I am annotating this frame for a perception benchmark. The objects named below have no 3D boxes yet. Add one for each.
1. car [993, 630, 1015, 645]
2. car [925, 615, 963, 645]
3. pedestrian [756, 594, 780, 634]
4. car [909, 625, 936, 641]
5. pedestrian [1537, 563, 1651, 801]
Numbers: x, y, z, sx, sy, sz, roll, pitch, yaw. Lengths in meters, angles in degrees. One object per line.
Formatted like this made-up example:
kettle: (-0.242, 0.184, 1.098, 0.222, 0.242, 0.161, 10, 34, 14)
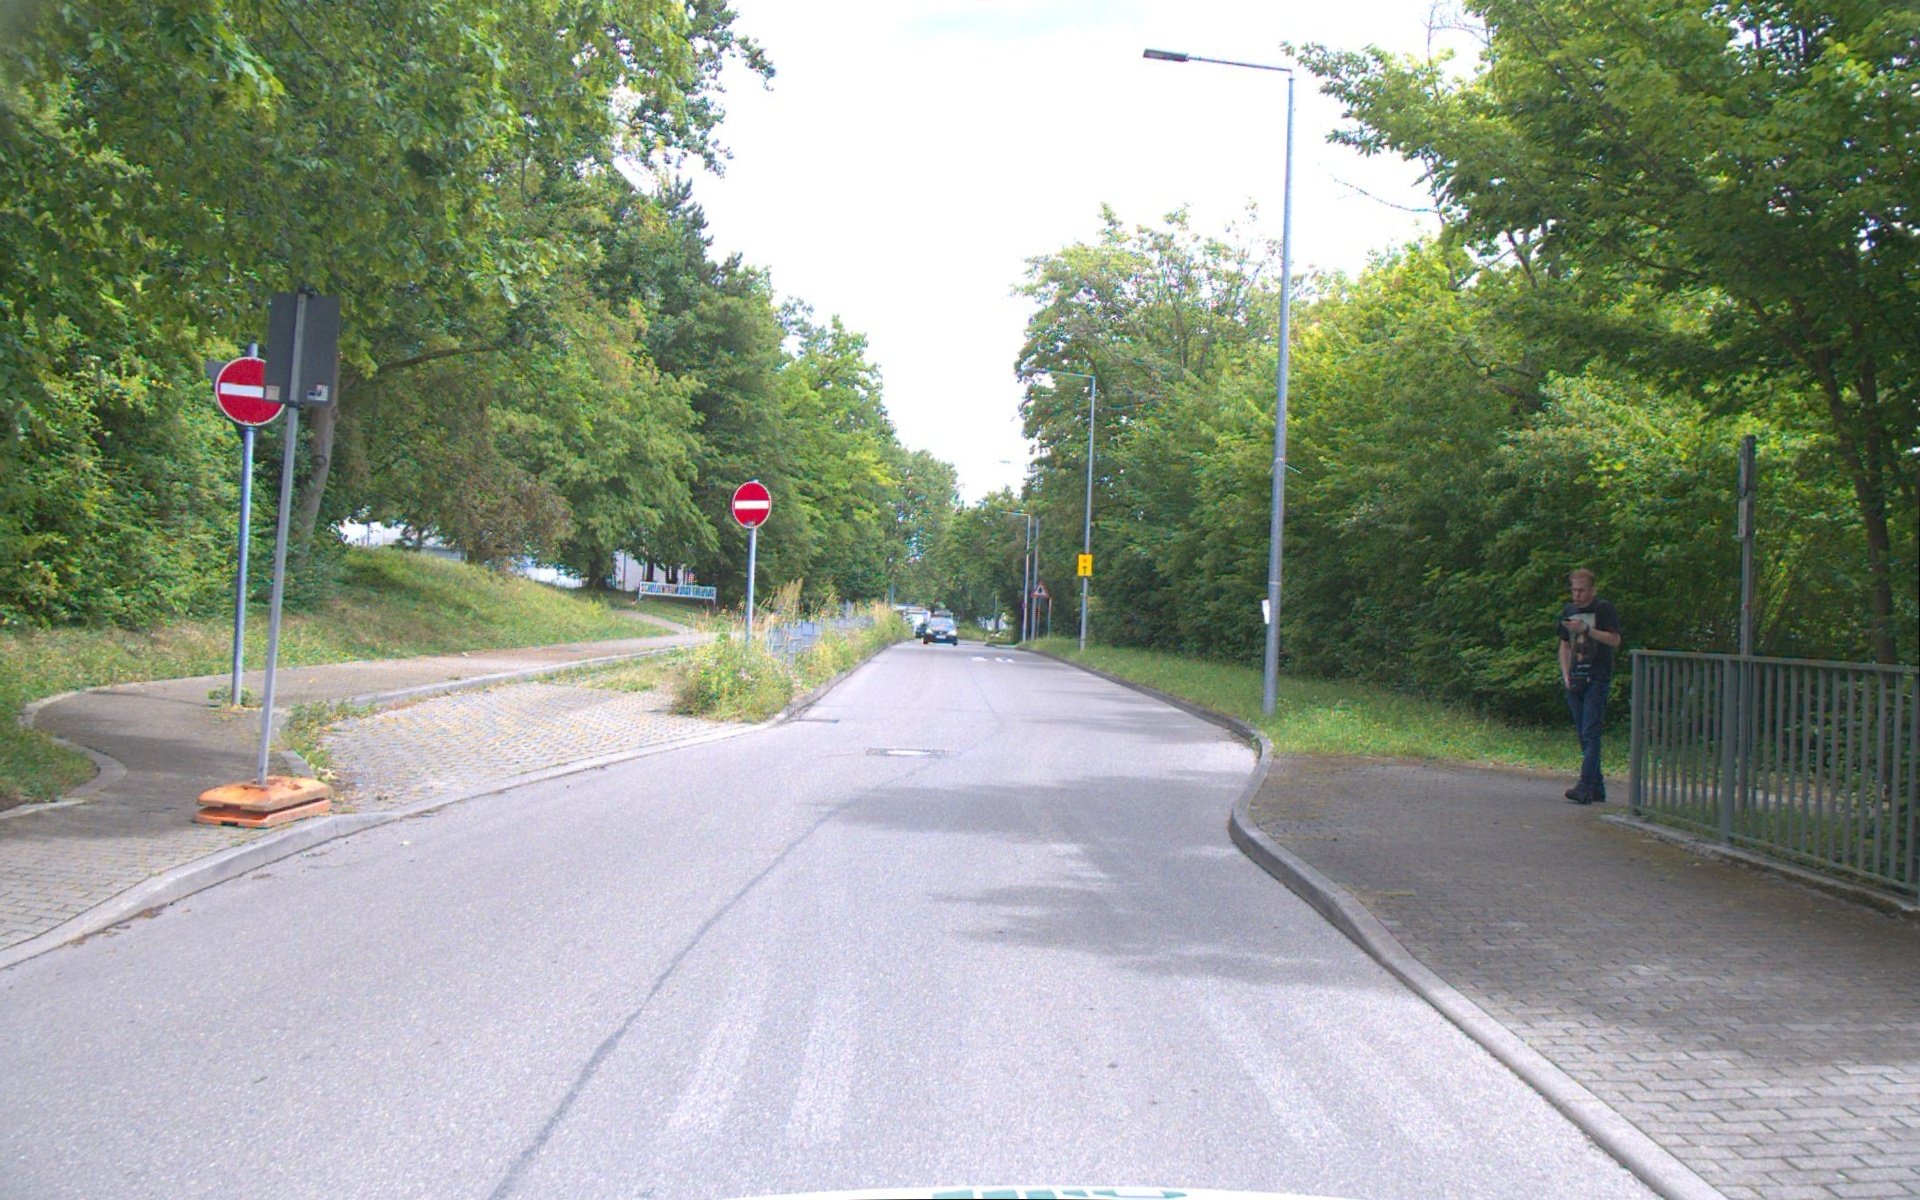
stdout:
car: (5.284, 4.478, 196.449, 1.820, 1.518, 4.002, 0, -4, 14)
car: (-0.750, 1.452, 81.432, 1.658, 1.372, 4.095, 2, -1, 2)
pedestrian: (-10.190, 0.768, 87.829, 0.863, 2.049, 0.861, -3, -6, 45)
car: (-3.581, 3.187, 159.040, 1.937, 1.408, 4.002, 3, -1, 7)
pedestrian: (4.992, 0.630, 13.042, 0.575, 1.814, 0.682, 2, -1, -5)
